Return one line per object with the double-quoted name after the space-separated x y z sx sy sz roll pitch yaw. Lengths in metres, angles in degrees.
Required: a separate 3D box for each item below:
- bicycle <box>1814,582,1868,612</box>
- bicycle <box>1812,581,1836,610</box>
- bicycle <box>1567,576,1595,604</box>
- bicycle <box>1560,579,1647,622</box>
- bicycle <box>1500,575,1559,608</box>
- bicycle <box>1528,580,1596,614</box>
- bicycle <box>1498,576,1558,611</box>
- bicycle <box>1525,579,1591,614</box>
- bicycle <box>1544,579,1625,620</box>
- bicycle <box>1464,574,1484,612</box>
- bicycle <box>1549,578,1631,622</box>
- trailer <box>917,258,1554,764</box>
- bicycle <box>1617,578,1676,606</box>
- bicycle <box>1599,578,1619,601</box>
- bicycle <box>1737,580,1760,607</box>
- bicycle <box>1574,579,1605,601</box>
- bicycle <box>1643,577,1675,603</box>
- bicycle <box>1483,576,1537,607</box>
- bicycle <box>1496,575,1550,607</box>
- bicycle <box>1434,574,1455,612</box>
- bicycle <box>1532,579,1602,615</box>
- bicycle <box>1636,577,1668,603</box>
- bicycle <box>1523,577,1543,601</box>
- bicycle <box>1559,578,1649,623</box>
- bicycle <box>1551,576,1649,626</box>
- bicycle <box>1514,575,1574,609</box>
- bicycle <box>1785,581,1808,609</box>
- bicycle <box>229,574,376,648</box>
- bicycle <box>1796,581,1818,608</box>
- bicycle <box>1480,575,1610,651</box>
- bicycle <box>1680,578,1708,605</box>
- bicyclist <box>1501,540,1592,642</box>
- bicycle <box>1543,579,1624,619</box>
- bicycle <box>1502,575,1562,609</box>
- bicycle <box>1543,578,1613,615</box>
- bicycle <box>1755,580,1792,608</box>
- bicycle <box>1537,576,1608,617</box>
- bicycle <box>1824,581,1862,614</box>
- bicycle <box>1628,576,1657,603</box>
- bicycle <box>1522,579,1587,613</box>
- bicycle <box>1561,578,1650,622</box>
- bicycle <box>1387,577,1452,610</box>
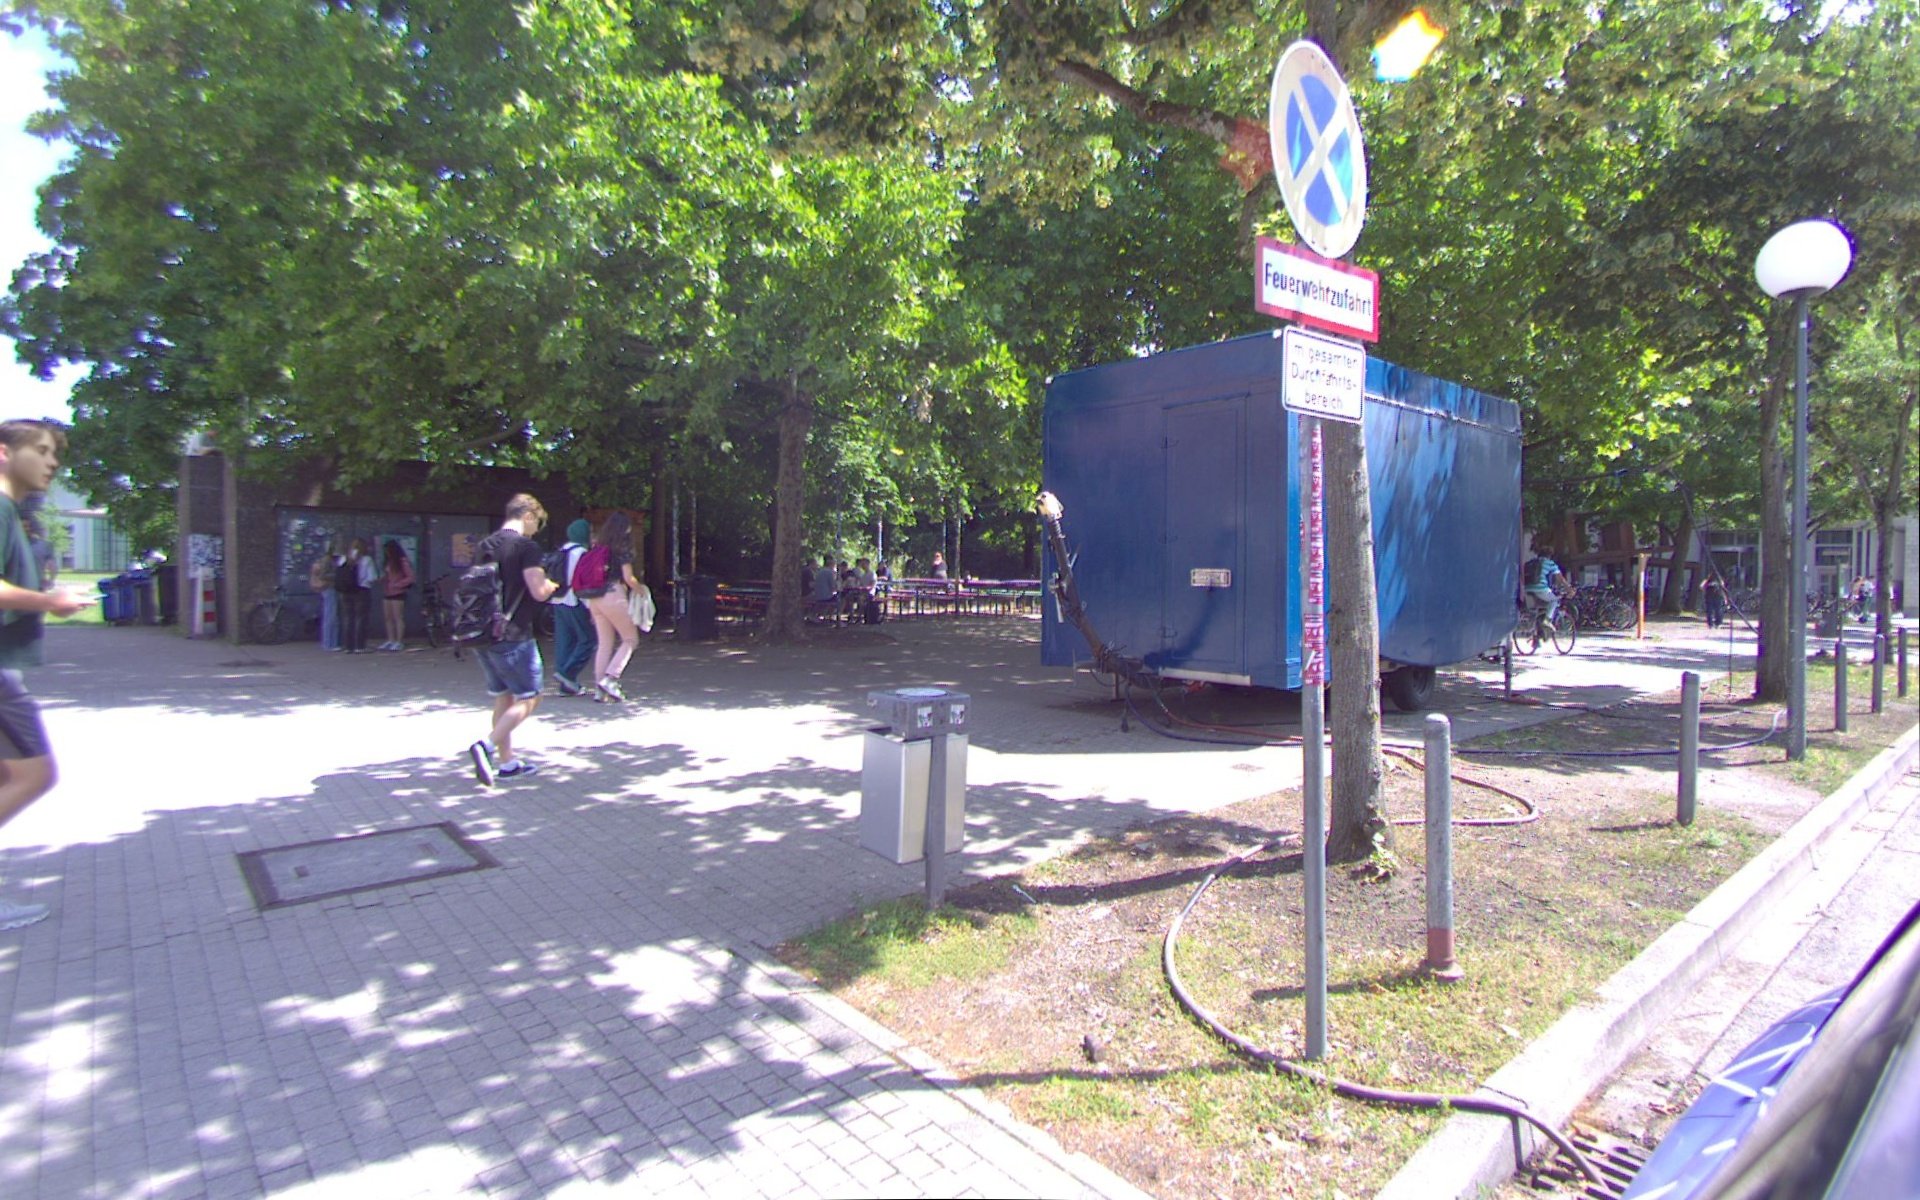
35.909 -0.113 41.250 1.749 1.155 0.607 1 3 -8 "bicycle"
36.046 -0.196 42.229 1.465 1.155 0.560 -1 4 -44 "bicycle"
26.433 -0.422 43.071 0.468 1.123 1.665 1 2 12 "bicycle"
17.498 -0.003 27.553 1.940 1.095 0.399 2 2 38 "bicycle"
21.093 -0.315 37.503 1.819 1.185 0.344 2 1 16 "bicycle"
19.070 -0.099 32.077 1.769 1.041 0.380 2 1 18 "bicycle"
20.140 -0.240 35.928 1.768 1.185 0.401 2 1 16 "bicycle"
19.635 -0.119 33.264 1.770 1.083 0.424 2 1 20 "bicycle"
17.662 -0.026 28.666 1.895 1.072 0.322 2 1 27 "bicycle"
15.504 -0.237 30.520 0.474 1.096 1.885 2 3 28 "bicycle"
16.470 -0.018 26.462 1.764 1.095 0.432 2 2 38 "bicycle"
2.843 -0.636 9.270 6.151 3.089 2.696 -1 3 -42 "trailer"
28.419 -0.353 41.904 1.895 1.123 0.630 1 2 13 "bicycle"
30.956 -0.472 48.282 0.566 1.061 1.671 -1 -2 41 "bicycle"
34.536 -0.287 44.332 1.447 1.099 0.460 2 2 -40 "bicycle"
30.404 -0.467 48.876 1.663 1.061 0.618 1 -1 -33 "bicycle"
32.234 -0.447 46.674 1.664 1.139 0.628 2 2 -36 "bicycle"
21.474 -0.333 39.536 1.817 1.185 0.344 2 1 13 "bicycle"
21.335 -0.350 38.350 1.811 1.185 0.345 1 1 2 "bicycle"
14.748 -0.219 30.793 0.474 1.096 1.885 2 3 28 "bicycle"
18.722 -0.096 31.240 1.773 1.041 0.438 2 1 18 "bicycle"
30.637 -0.436 44.816 1.792 1.091 0.464 2 2 -33 "bicycle"
28.928 -0.544 51.087 0.453 1.144 1.661 -1 -2 44 "bicycle"
16.908 -0.001 26.590 1.940 1.095 0.399 2 2 38 "bicycle"
15.992 0.005 25.320 2.010 1.181 0.643 2 2 38 "bicycle"
20.834 -0.296 36.149 1.768 1.185 0.401 2 1 16 "bicycle"
35.634 -0.210 43.101 1.465 1.155 0.560 1 2 -44 "bicycle"
-10.915 0.159 16.847 1.991 1.154 0.574 -1 1 -41 "bicycle"
40.872 -0.259 48.829 1.799 1.257 0.531 -2 3 -42 "bicycle"
9.476 0.196 16.376 2.249 1.137 0.654 0 4 -27 "bicycle"
33.173 -0.388 45.713 1.664 1.139 0.482 2 2 -36 "bicycle"
9.458 -0.160 16.332 1.171 1.586 0.654 0 4 -27 "bicyclist"
17.806 -0.033 28.938 1.895 1.072 0.322 2 1 27 "bicycle"
20.797 -0.302 36.836 1.819 1.185 0.401 2 1 16 "bicycle"
18.764 -0.113 30.732 1.712 1.065 0.493 2 1 13 "bicycle"
34.936 -0.258 43.468 1.494 1.155 0.493 2 1 -22 "bicycle"
18.231 -0.101 30.151 1.712 1.169 0.493 2 1 13 "bicycle"
32.340 -0.098 37.079 0.622 1.097 1.674 -1 3 26 "bicycle"
31.915 -0.477 47.338 1.666 1.164 0.627 2 2 -40 "bicycle"
19.777 -0.134 33.678 1.770 1.083 0.424 2 1 20 "bicycle"
17.155 -0.015 26.936 1.940 1.095 0.399 2 2 38 "bicycle"
15.034 -0.212 33.111 1.868 0.991 0.479 1 2 1 "bicycle"
